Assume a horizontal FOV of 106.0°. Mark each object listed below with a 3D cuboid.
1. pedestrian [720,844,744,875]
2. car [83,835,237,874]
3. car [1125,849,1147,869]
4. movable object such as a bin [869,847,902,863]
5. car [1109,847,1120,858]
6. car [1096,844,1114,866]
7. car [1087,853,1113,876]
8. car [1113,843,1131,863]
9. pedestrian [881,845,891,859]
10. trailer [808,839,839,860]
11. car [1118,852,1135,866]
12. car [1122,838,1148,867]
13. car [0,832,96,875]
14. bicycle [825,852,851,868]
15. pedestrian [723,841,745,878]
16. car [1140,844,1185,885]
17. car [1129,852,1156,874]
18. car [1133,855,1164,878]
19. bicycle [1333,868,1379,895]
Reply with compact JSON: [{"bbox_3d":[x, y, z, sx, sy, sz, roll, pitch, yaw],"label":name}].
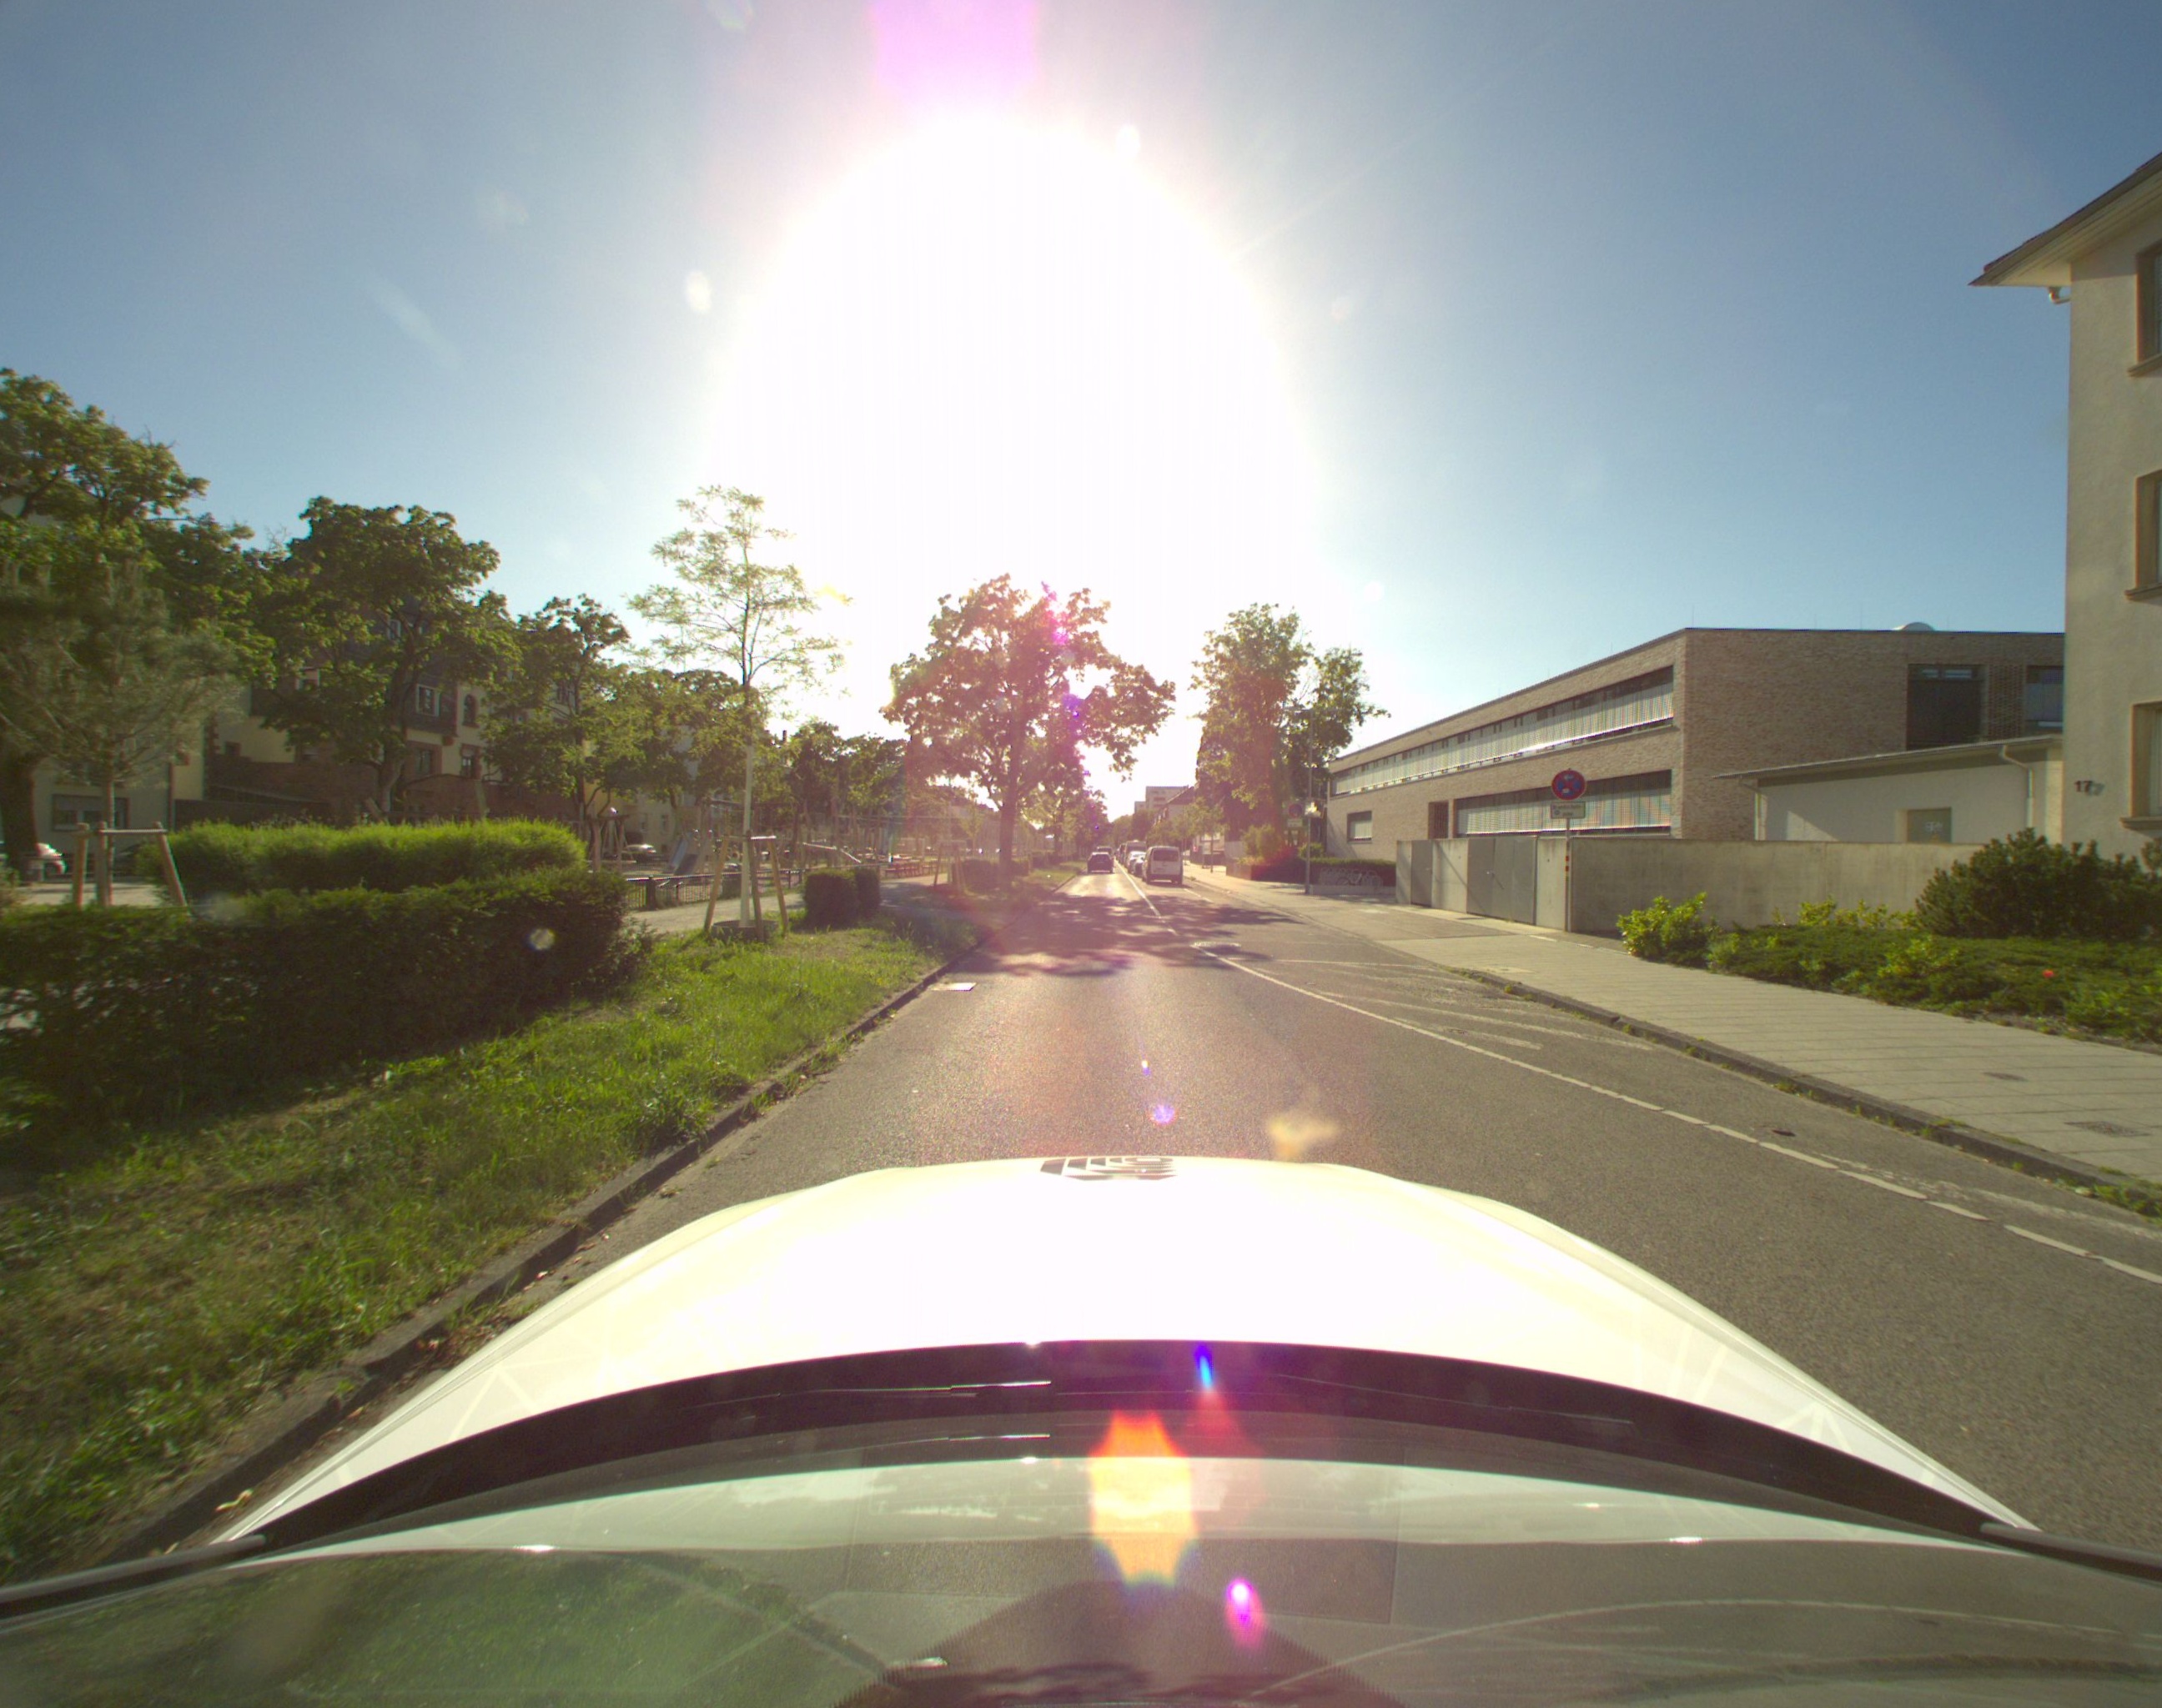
[{"bbox_3d":[-15.399,0.246,35.937,0.643,1.329,0.653,1,0,20],"label":"pedestrian"},{"bbox_3d":[-38.355,0.004,34.095,1.787,1.510,4.002,1,0,2],"label":"car"},{"bbox_3d":[4.743,0.403,70.046,1.614,1.588,3.591,1,0,0],"label":"car"},{"bbox_3d":[-15.258,0.102,63.491,2.325,1.242,1.055,0,0,-3],"label":"movable object such as a bin"},{"bbox_3d":[5.809,-0.290,140.738,1.786,1.855,4.418,1,0,4],"label":"car"},{"bbox_3d":[2.473,0.107,82.479,1.787,2.122,4.002,1,0,2],"label":"car"},{"bbox_3d":[1.389,0.722,58.229,1.787,1.510,4.002,1,0,2],"label":"car"},{"bbox_3d":[5.391,-0.086,107.245,2.108,2.515,6.532,0,0,1],"label":"car"},{"bbox_3d":[-18.657,-0.190,77.914,0.642,1.318,0.654,1,0,31],"label":"pedestrian"},{"bbox_3d":[-36.227,-0.607,114.729,2.335,2.870,5.804,1,0,1],"label":"trailer"},{"bbox_3d":[5.295,0.555,94.896,1.839,1.640,4.505,0,0,1],"label":"car"},{"bbox_3d":[5.108,-0.150,77.516,2.232,2.574,5.435,1,0,2],"label":"car"},{"bbox_3d":[-38.330,-0.035,28.485,1.899,1.510,4.765,1,0,1],"label":"car"},{"bbox_3d":[-18.458,0.455,61.767,1.788,1.107,0.500,1,0,-1],"label":"bicycle"},{"bbox_3d":[-15.946,0.260,37.407,0.643,1.661,0.653,1,0,20],"label":"pedestrian"},{"bbox_3d":[4.030,0.477,40.742,1.802,1.908,4.461,1,0,0],"label":"car"},{"bbox_3d":[4.265,0.607,57.149,1.695,1.478,4.175,1,0,2],"label":"car"},{"bbox_3d":[4.192,0.739,50.896,1.695,1.325,4.131,1,0,1],"label":"car"},{"bbox_3d":[11.164,1.102,33.079,1.663,1.029,0.500,2,0,-1],"label":"bicycle"}]
